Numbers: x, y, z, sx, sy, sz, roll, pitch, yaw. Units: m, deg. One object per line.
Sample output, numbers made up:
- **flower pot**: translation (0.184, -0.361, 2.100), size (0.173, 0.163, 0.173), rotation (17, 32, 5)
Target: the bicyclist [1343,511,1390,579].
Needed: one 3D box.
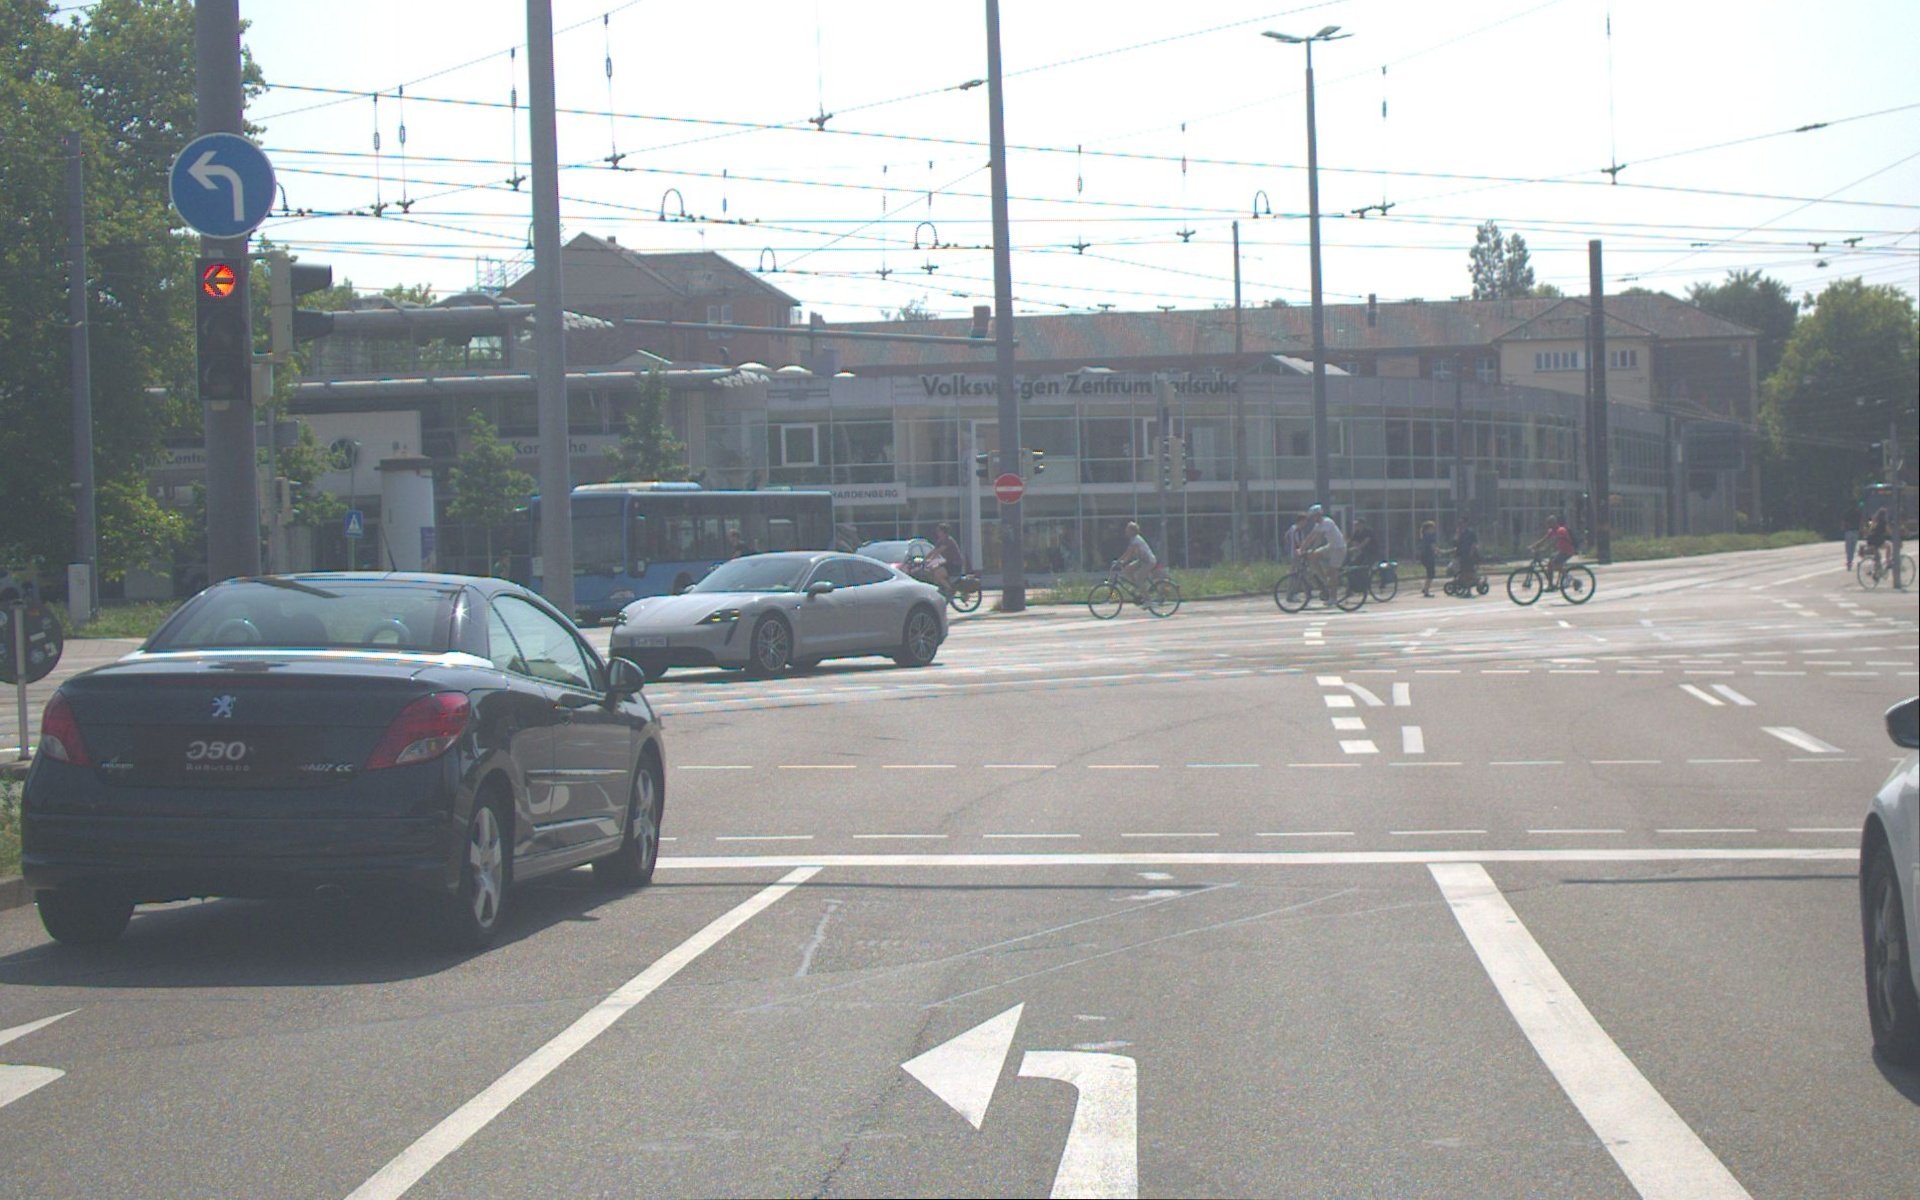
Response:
- **bicyclist**: translation (8.228, -1.116, 69.617), size (0.668, 1.345, 0.712), rotation (-2, 1, -21)

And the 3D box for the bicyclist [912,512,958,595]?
- **bicyclist**: translation (-0.510, -0.937, 69.154), size (0.761, 1.628, 0.763), rotation (-1, 1, -11)

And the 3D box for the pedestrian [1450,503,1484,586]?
- **pedestrian**: translation (10.736, -1.176, 72.824), size (0.622, 1.746, 0.628), rotation (-1, 1, 2)

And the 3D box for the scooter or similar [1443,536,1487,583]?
- **scooter or similar**: translation (10.805, -0.871, 73.626), size (0.835, 0.971, 0.793), rotation (-1, 1, 2)

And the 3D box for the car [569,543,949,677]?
- **car**: translation (-2.255, 0.090, 39.782), size (1.944, 1.395, 4.578), rotation (-1, 1, 35)

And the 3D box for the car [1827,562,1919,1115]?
- **car**: translation (3.355, 0.653, 8.227), size (1.758, 1.450, 4.425), rotation (0, 1, 4)

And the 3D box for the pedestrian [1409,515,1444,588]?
- **pedestrian**: translation (9.979, -1.043, 73.594), size (0.635, 1.555, 0.747), rotation (-1, 1, 2)

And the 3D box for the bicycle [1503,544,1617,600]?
- **bicycle**: translation (11.349, -0.535, 65.062), size (1.980, 1.015, 0.714), rotation (-1, 1, 26)

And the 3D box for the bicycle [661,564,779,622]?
- **bicycle**: translation (-4.766, -0.140, 68.249), size (2.196, 1.084, 0.763), rotation (-2, 1, -15)

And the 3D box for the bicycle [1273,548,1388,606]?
- **bicycle**: translation (6.817, -0.430, 63.306), size (1.977, 1.015, 0.715), rotation (-1, 1, -7)

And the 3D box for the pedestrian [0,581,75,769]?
- **pedestrian**: translation (-6.530, 0.518, 24.094), size (0.595, 1.264, 0.505), rotation (-2, 3, -14)

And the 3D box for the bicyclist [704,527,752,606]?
- **bicyclist**: translation (-4.607, -0.662, 68.281), size (0.797, 1.536, 0.763), rotation (-2, 1, -15)

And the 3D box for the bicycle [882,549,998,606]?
- **bicycle**: translation (-0.410, -0.455, 69.183), size (2.196, 1.084, 0.763), rotation (-2, 1, -11)

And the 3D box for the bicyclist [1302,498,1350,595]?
- **bicyclist**: translation (6.731, -0.991, 63.285), size (0.704, 1.758, 0.715), rotation (-1, 1, -7)

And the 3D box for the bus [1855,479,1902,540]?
- **bus**: translation (54.420, -5.335, 203.541), size (2.563, 3.494, 7.796), rotation (-1, 1, 16)

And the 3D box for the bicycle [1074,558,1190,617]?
- **bicycle**: translation (3.129, -0.238, 62.471), size (1.977, 1.015, 0.715), rotation (-2, 1, -22)

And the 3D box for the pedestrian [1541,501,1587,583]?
- **pedestrian**: translation (11.424, -1.096, 65.006), size (0.663, 1.529, 0.714), rotation (-1, 1, 26)

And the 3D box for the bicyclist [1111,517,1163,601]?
- **bicyclist**: translation (3.220, -0.738, 62.504), size (0.664, 1.503, 0.715), rotation (-2, 1, -22)

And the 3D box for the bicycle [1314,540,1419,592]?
- **bicycle**: translation (8.229, -0.689, 69.622), size (1.977, 1.015, 0.715), rotation (-2, 1, -21)

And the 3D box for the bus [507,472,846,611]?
- **bus**: translation (-6.308, -1.397, 79.556), size (3.056, 2.921, 11.841), rotation (-1, 1, 20)

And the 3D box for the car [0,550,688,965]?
- **car**: translation (-2.394, 0.519, 13.904), size (1.758, 1.399, 3.980), rotation (0, 1, 8)

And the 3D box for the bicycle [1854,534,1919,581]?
- **bicycle**: translation (20.049, -0.925, 74.385), size (1.591, 0.981, 0.507), rotation (-2, 1, -39)

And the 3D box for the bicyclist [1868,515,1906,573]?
- **bicyclist**: translation (20.060, -1.219, 74.398), size (0.594, 1.243, 0.507), rotation (-2, 1, -39)

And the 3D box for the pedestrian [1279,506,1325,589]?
- **pedestrian**: translation (7.239, -1.112, 72.770), size (0.784, 1.746, 0.808), rotation (-1, 1, 19)
